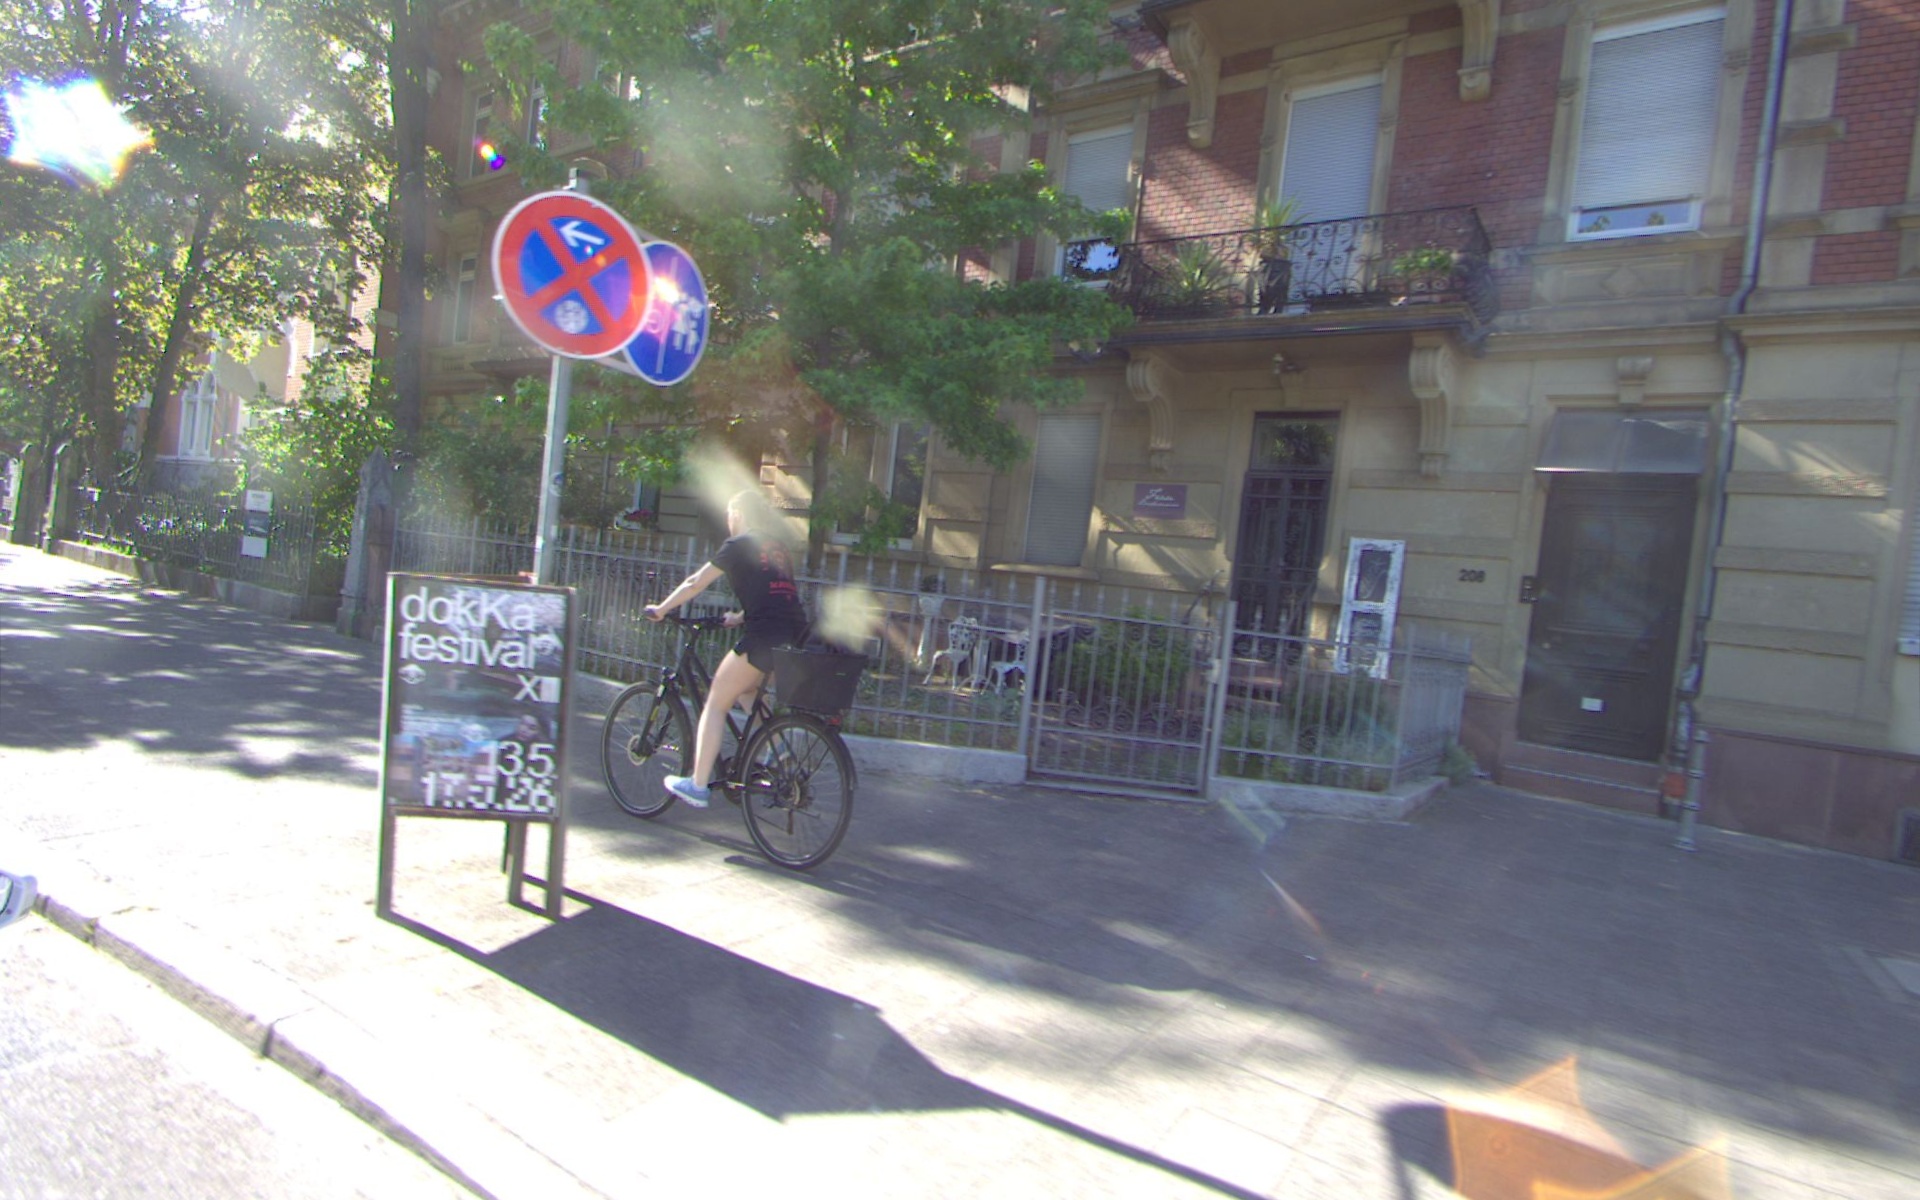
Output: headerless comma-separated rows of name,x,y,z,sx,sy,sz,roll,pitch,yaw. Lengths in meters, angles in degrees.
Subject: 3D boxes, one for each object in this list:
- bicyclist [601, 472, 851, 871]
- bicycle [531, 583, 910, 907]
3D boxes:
bicyclist,-1.139,0.296,4.886,0.874,1.719,0.645,8,5,31
bicycle,-1.220,0.602,4.935,1.812,1.193,0.652,7,5,31
